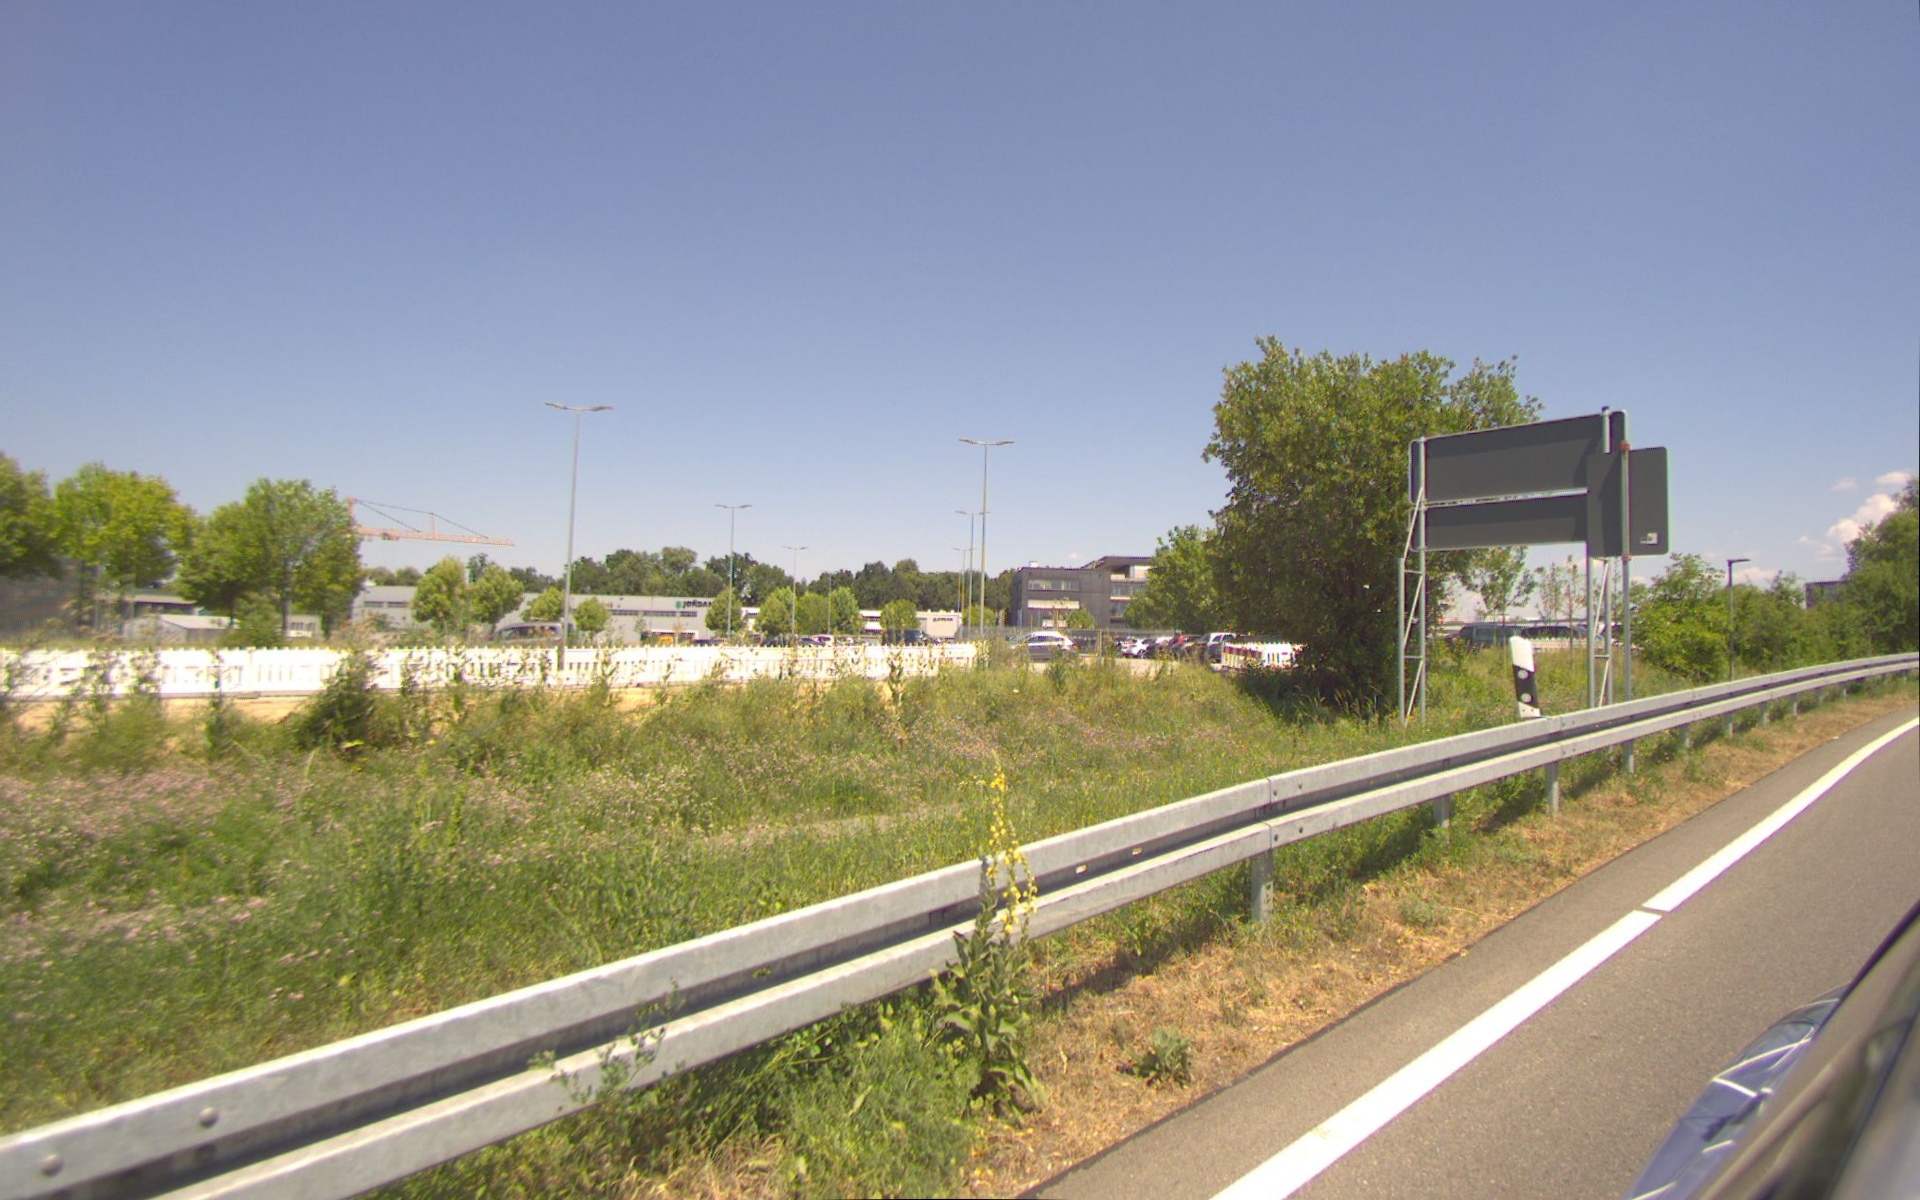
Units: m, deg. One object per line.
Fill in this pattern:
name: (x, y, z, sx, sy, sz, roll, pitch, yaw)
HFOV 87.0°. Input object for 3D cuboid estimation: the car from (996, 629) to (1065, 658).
car: (4.022, 2.499, 58.536, 3.926, 1.658, 1.946, 0, -1, 3)

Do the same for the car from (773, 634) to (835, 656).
car: (-12.236, 3.525, 79.628, 4.463, 1.707, 2.098, -1, -1, 7)

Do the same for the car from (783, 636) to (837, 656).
car: (-13.429, 4.126, 90.896, 4.463, 1.707, 2.098, -1, -1, 7)

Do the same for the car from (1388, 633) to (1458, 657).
car: (32.157, 3.125, 70.319, 3.922, 1.588, 1.948, 0, -1, -2)

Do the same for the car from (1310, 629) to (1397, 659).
car: (21.689, 2.427, 55.882, 4.010, 1.588, 1.947, 0, -1, -1)

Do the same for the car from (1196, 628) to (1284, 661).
car: (14.912, 2.384, 54.042, 4.074, 1.655, 2.001, 1, 0, -3)

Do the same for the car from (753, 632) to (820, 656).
car: (-12.577, 3.179, 73.499, 4.463, 1.707, 2.098, -1, -1, 7)

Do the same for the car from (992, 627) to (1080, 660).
car: (3.956, 2.258, 53.336, 4.505, 1.658, 2.013, 0, -1, 3)

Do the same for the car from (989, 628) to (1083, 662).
car: (3.750, 2.223, 50.359, 4.527, 1.527, 1.999, 0, 0, 1)

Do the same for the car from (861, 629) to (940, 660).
car: (-3.356, 2.527, 57.689, 4.453, 1.707, 2.102, 0, -1, -1)

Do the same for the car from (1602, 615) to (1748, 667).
car: (33.593, 1.926, 47.694, 2.096, 2.288, 5.229, 4, -4, -38)

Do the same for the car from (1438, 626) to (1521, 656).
car: (32.679, 2.615, 63.685, 4.233, 1.754, 1.948, 2, -3, -5)

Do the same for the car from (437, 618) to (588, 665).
car: (-18.133, 1.667, 41.241, 5.236, 1.839, 2.104, 0, -2, -5)

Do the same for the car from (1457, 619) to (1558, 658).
car: (33.246, 2.364, 61.496, 5.051, 2.199, 2.000, 2, -3, -3)

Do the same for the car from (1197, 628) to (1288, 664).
car: (14.109, 2.299, 50.696, 3.921, 1.694, 2.001, 1, 0, -4)

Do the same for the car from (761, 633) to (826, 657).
car: (-12.528, 3.378, 76.395, 4.463, 1.707, 2.098, -1, -1, 7)

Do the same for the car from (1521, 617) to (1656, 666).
car: (26.752, 1.779, 43.224, 2.024, 1.939, 4.446, 4, -4, -34)
